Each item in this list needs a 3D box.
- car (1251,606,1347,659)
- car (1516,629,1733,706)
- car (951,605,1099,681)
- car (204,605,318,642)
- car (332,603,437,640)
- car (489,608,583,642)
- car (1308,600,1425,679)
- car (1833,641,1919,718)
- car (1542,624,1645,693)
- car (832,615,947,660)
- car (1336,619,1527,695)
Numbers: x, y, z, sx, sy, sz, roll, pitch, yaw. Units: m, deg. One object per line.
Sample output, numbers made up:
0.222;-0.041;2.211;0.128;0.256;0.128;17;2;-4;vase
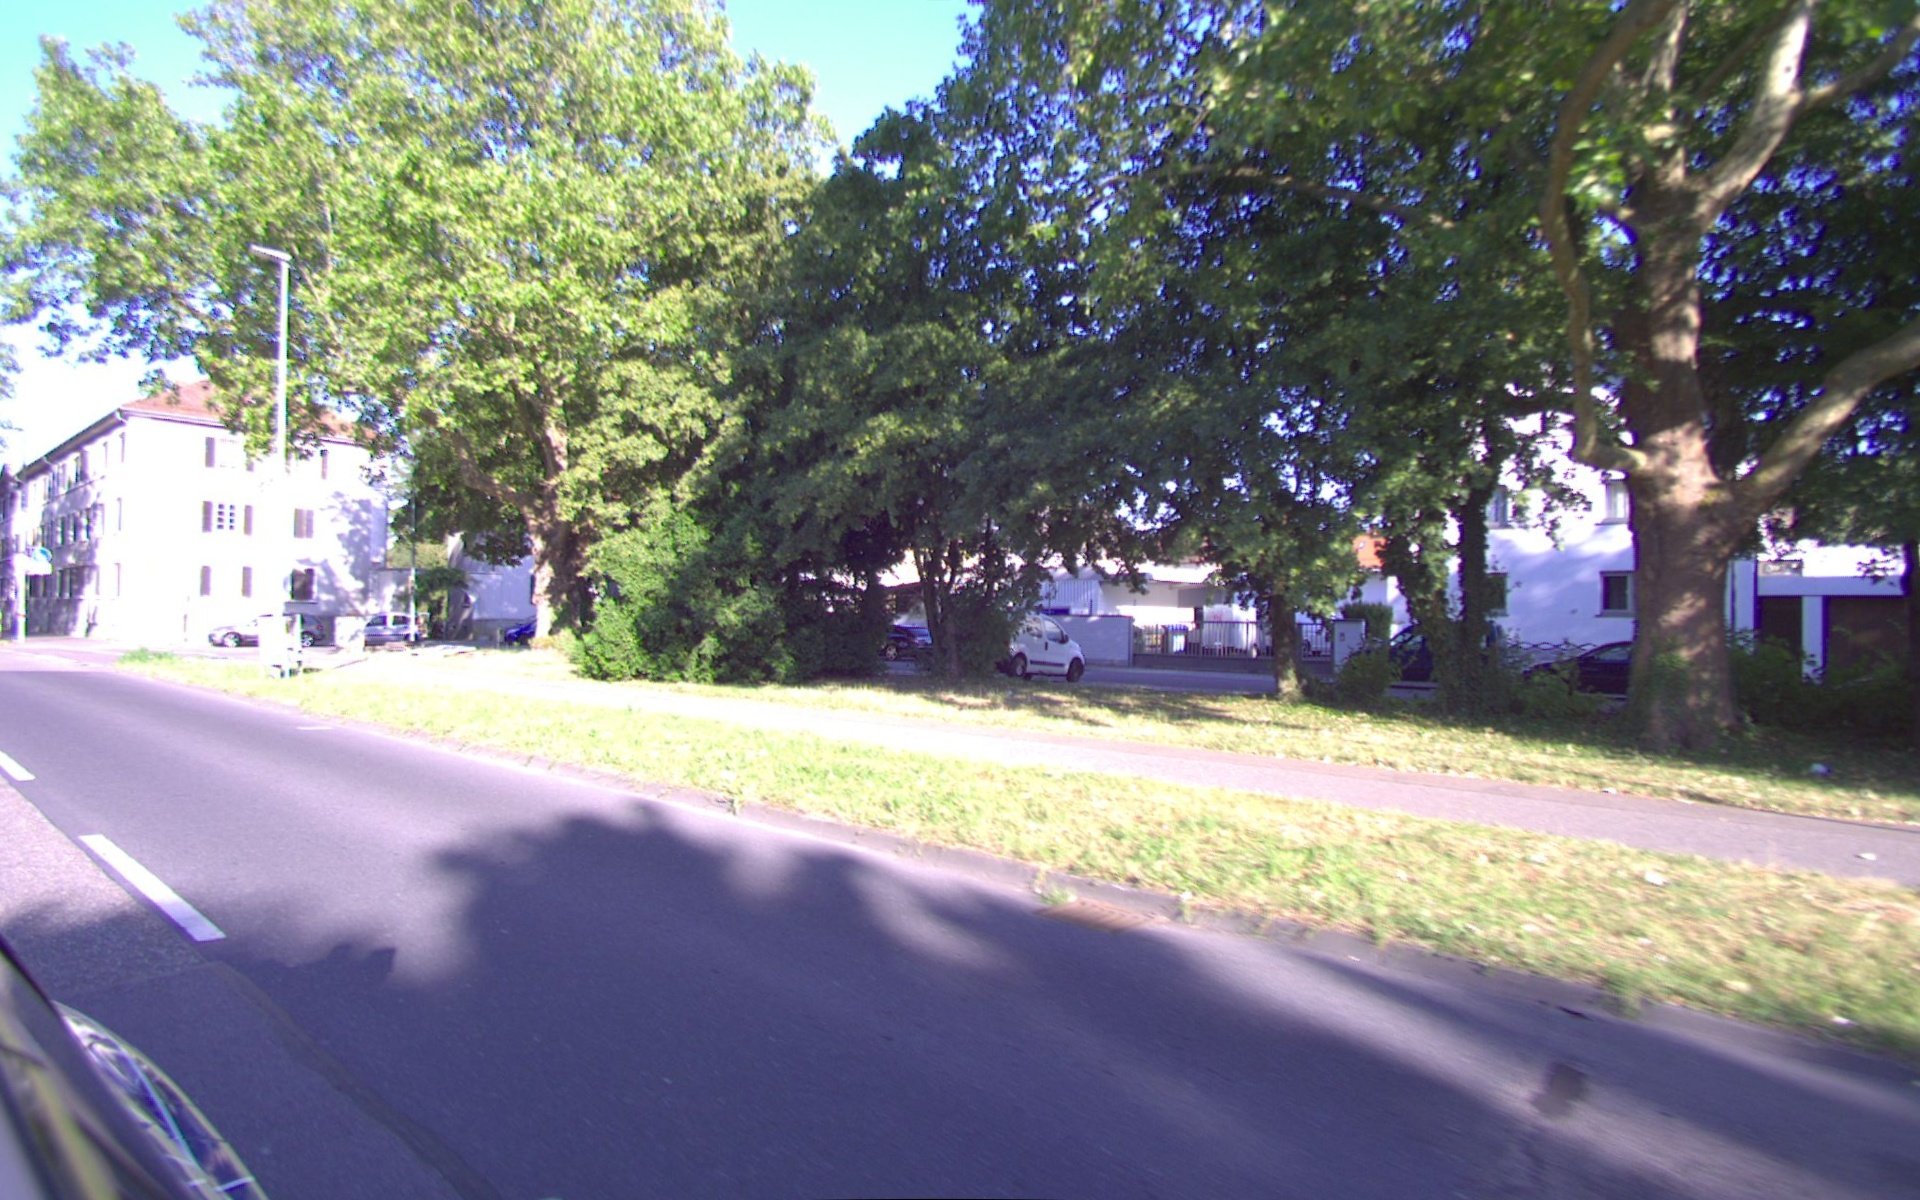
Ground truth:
15.078;1.444;44.981;3.932;2.266;2.006;2;-1;-33;car
15.457;1.525;23.633;4.066;1.566;1.807;0;-3;40;car
1.689;1.101;25.006;1.724;1.697;3.950;0;-3;37;car
-30.042;1.015;43.538;3.935;1.429;1.919;2;2;-37;car
-26.261;0.995;46.251;3.934;1.573;1.869;2;-1;-37;car
-21.090;1.261;50.433;3.934;1.573;1.869;3;-2;-37;car
12.793;1.207;31.723;2.000;2.306;4.268;0;-1;43;car
19.750;1.614;19.980;3.761;1.452;1.760;0;-3;40;car
17.351;1.520;27.634;1.923;1.563;3.948;0;1;39;car
-2.739;1.408;38.807;4.356;1.573;1.839;0;-2;40;car
12.258;1.444;26.426;4.172;1.754;1.874;0;-3;40;car
